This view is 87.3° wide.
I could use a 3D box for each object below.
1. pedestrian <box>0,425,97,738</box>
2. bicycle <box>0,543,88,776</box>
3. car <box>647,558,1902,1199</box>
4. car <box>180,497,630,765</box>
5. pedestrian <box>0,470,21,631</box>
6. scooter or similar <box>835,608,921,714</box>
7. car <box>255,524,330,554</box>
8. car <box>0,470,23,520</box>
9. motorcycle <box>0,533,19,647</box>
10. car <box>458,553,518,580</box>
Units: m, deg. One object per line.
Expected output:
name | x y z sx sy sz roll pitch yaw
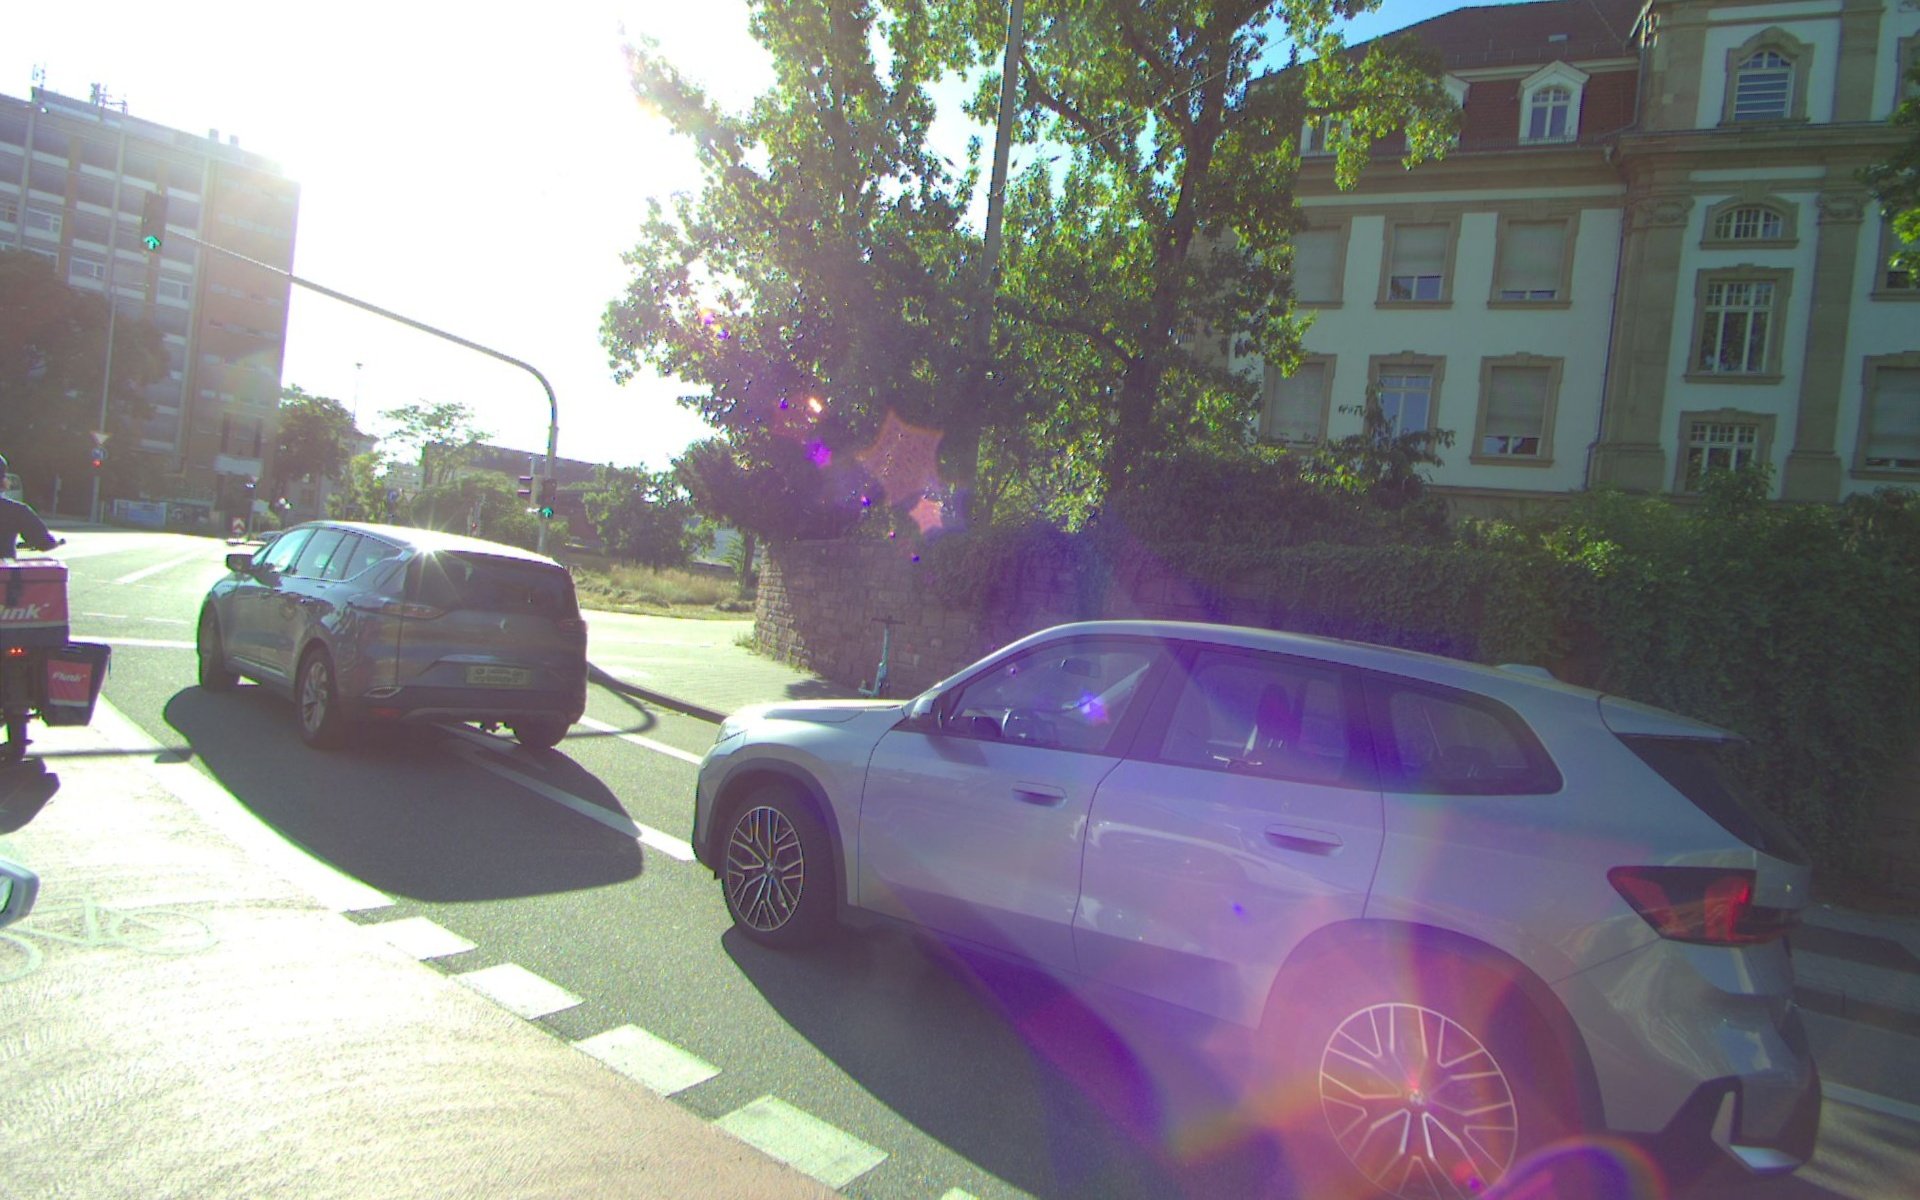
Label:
pedestrian | -6.217 -0.145 6.393 0.943 1.890 0.806 6 -1 40
bicycle | -5.934 0.263 6.126 2.340 1.185 0.553 6 -2 42
car | 0.825 0.883 4.243 4.263 1.612 1.788 6 -2 37
car | -4.901 0.158 8.609 4.307 1.709 1.830 6 -2 40
pedestrian | -9.254 -0.426 9.335 0.585 1.617 1.013 8 -1 -41
scooter or similar | -1.156 0.820 13.882 0.569 1.285 1.414 6 0 -27
car | -44.694 -4.068 67.430 3.968 1.549 1.785 6 1 -40
car | -39.982 -4.353 41.034 1.897 1.970 4.660 4 1 -36
motorcycle | -9.341 -0.094 9.386 0.611 1.110 2.334 8 -2 -41
car | -35.110 -2.505 74.831 3.952 1.549 1.792 6 1 -28
